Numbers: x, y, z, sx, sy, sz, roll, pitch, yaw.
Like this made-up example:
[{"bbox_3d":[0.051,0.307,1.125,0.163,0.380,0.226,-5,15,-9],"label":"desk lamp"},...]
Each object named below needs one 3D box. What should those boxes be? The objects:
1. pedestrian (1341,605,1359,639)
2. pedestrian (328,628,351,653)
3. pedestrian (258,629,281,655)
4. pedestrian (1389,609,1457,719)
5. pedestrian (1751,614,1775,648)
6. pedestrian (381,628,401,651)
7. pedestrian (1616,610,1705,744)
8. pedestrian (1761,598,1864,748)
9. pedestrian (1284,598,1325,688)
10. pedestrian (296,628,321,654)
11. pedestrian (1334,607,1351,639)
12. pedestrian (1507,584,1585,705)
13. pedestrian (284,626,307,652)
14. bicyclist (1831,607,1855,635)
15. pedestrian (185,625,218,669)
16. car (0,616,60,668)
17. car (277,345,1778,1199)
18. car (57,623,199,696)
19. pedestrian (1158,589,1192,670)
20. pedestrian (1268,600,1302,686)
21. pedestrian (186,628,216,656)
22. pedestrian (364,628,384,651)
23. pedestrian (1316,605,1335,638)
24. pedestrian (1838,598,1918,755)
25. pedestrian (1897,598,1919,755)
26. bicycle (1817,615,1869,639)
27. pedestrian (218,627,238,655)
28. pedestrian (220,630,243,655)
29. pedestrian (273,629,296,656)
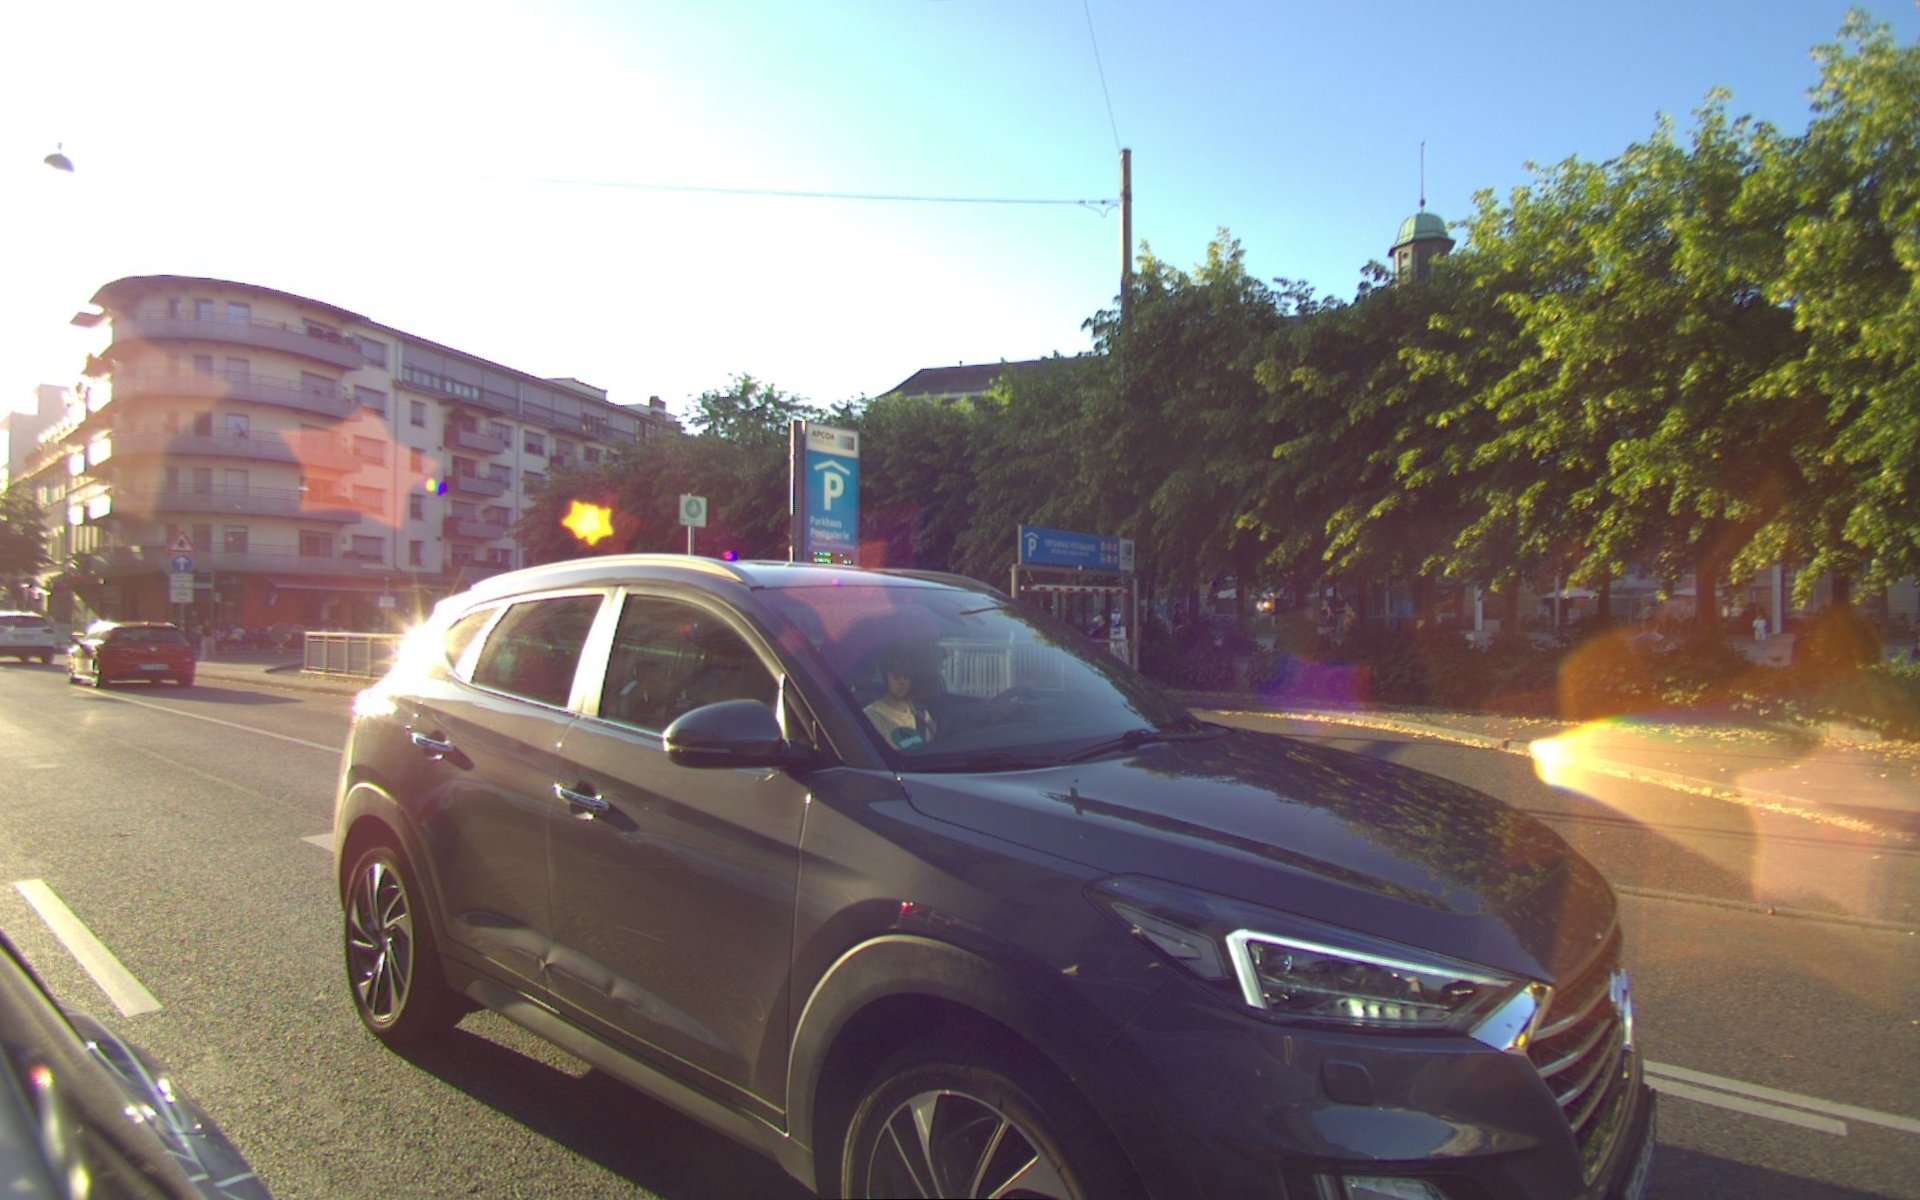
[{"bbox_3d":[16.104,0.915,41.812,0.651,1.386,0.515,-1,-1,27],"label":"pedestrian"},{"bbox_3d":[-33.528,2.187,54.694,0.884,1.332,0.726,-1,-1,26],"label":"pedestrian"},{"bbox_3d":[-34.898,2.116,51.145,0.888,1.332,0.723,-1,-1,40],"label":"pedestrian"},{"bbox_3d":[8.783,1.191,19.215,0.890,2.029,0.741,0,-1,-22],"label":"pedestrian"},{"bbox_3d":[26.206,1.001,33.031,0.528,1.071,0.457,-3,-1,35],"label":"pedestrian"},{"bbox_3d":[-32.593,2.251,57.968,0.721,1.332,0.891,0,-1,-10],"label":"pedestrian"},{"bbox_3d":[11.052,1.183,15.979,0.890,2.029,0.741,0,-1,-22],"label":"pedestrian"},{"bbox_3d":[12.012,0.996,14.275,0.890,2.029,0.741,0,-1,-22],"label":"pedestrian"},{"bbox_3d":[7.937,0.971,23.311,0.736,2.029,0.897,-1,-1,29],"label":"pedestrian"},{"bbox_3d":[-33.877,2.138,52.627,0.884,1.332,0.726,-1,-1,28],"label":"pedestrian"},{"bbox_3d":[16.822,1.014,44.510,0.651,1.386,0.515,-1,-1,27],"label":"pedestrian"},{"bbox_3d":[10.086,0.750,17.421,0.890,2.029,0.742,0,-1,-22],"label":"pedestrian"},{"bbox_3d":[-34.993,2.065,53.308,0.814,1.332,0.684,-1,-1,17],"label":"pedestrian"},{"bbox_3d":[46.921,1.097,53.782,0.764,1.459,0.637,-1,0,17],"label":"bicyclist"},{"bbox_3d":[-26.936,1.656,35.956,0.668,1.529,0.677,-1,-1,-2],"label":"pedestrian"},{"bbox_3d":[-31.884,1.395,33.743,4.169,1.644,1.856,-2,-4,36],"label":"car"},{"bbox_3d":[-0.312,0.650,3.177,4.445,1.702,1.854,-1,-2,40],"label":"car"},{"bbox_3d":[-19.036,1.298,23.110,3.953,1.477,1.768,0,-2,40],"label":"car"},{"bbox_3d":[5.485,0.746,25.777,0.733,2.029,0.901,-1,-1,18],"label":"pedestrian"},{"bbox_3d":[7.805,1.020,24.314,0.733,2.029,0.901,-1,-1,18],"label":"pedestrian"},{"bbox_3d":[-36.018,1.992,48.034,0.726,1.332,0.885,-1,-1,14],"label":"pedestrian"},{"bbox_3d":[-33.462,2.249,57.798,0.721,1.332,0.891,0,-1,-10],"label":"pedestrian"},{"bbox_3d":[15.354,0.910,42.523,0.651,1.386,0.656,-1,-1,26],"label":"pedestrian"},{"bbox_3d":[12.321,0.995,13.595,0.739,2.029,0.754,-2,-1,43],"label":"pedestrian"},{"bbox_3d":[12.857,0.990,13.305,0.739,2.029,0.866,-2,-1,43],"label":"pedestrian"},{"bbox_3d":[46.896,1.434,53.760,2.013,1.270,0.577,-1,0,18],"label":"bicycle"},{"bbox_3d":[-36.036,2.017,49.791,0.611,1.332,0.669,-1,-1,39],"label":"pedestrian"},{"bbox_3d":[-35.288,2.045,49.019,0.875,1.201,0.734,0,-1,-40],"label":"pedestrian"},{"bbox_3d":[-34.513,2.163,51.710,0.888,1.332,0.723,-1,-1,38],"label":"pedestrian"}]
